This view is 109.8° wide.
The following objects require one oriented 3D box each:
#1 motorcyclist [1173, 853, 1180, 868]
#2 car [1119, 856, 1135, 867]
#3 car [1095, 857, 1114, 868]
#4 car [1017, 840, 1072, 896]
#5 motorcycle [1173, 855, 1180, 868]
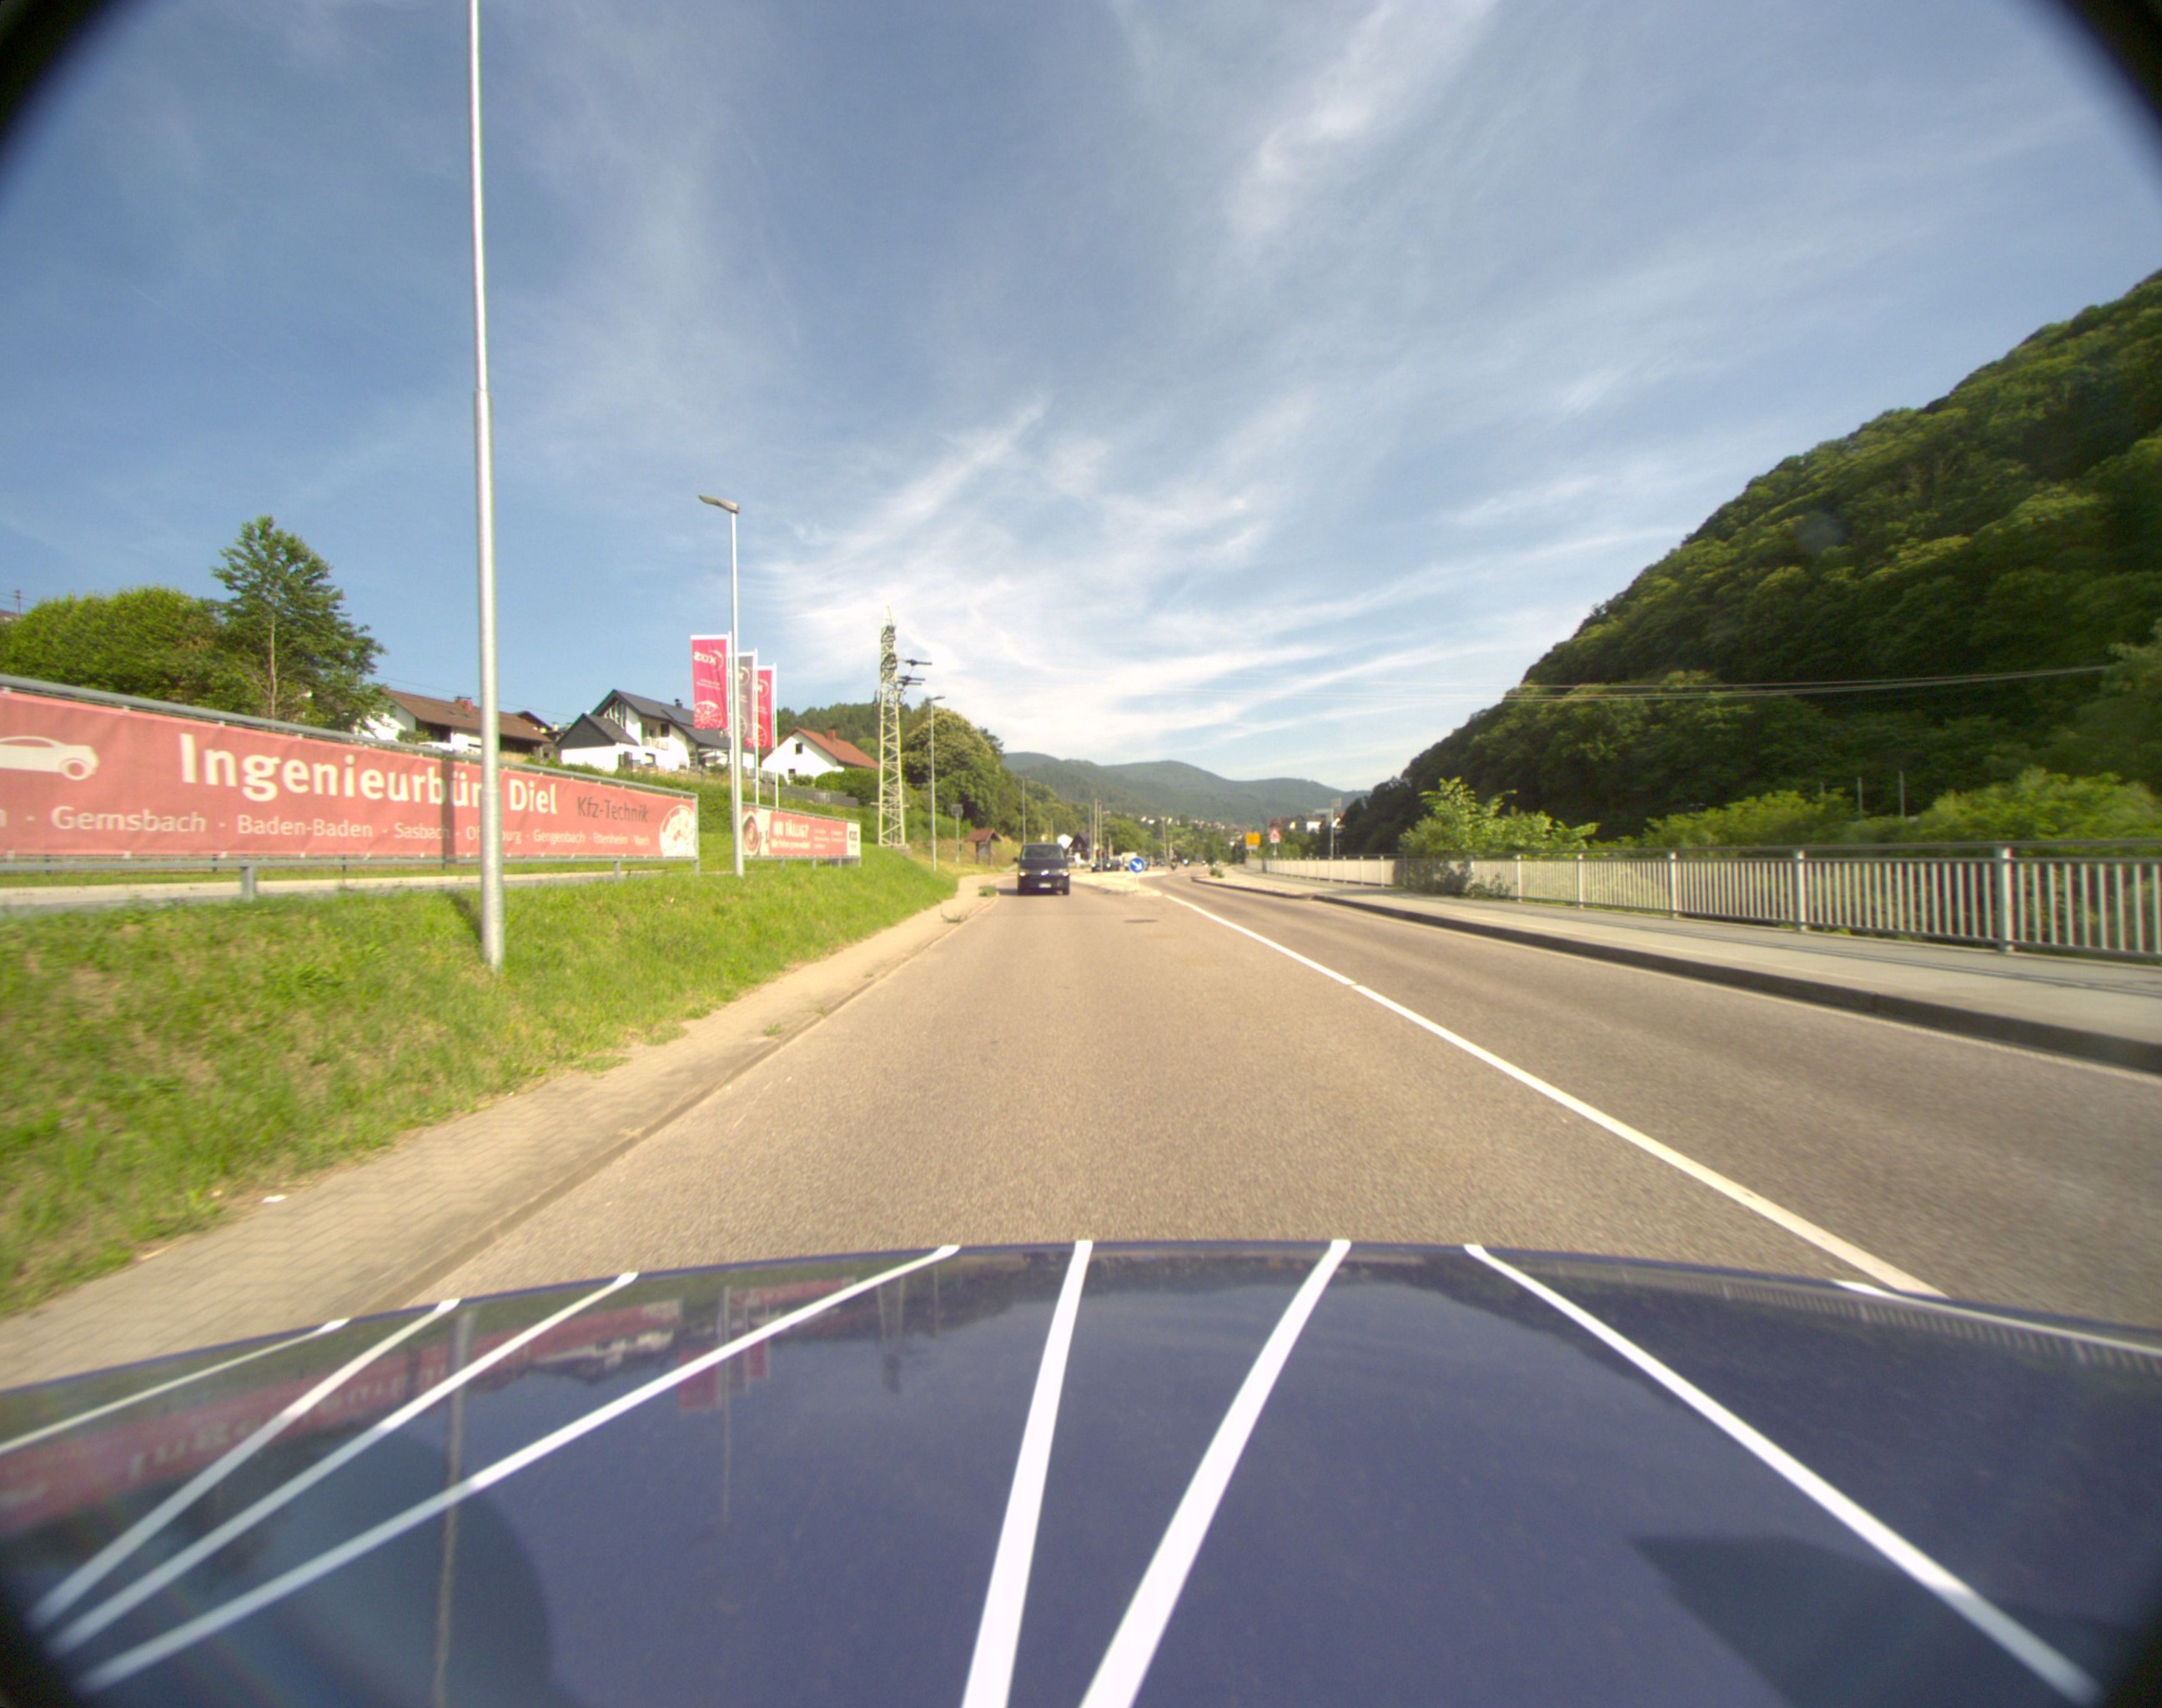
[{"bbox_3d":[10.465,0.710,83.522,0.764,1.668,0.727,0,1,7],"label":"motorcyclist"},{"bbox_3d":[4.991,0.829,81.965,1.271,1.171,3.125,-2,-1,10],"label":"car"},{"bbox_3d":[2.151,0.773,69.018,1.304,0.963,3.208,-2,-1,9],"label":"car"},{"bbox_3d":[-1.480,0.481,29.359,1.866,1.936,4.635,2,0,-5],"label":"car"},{"bbox_3d":[10.476,0.818,83.477,0.774,1.414,2.319,0,0,7],"label":"motorcycle"}]
